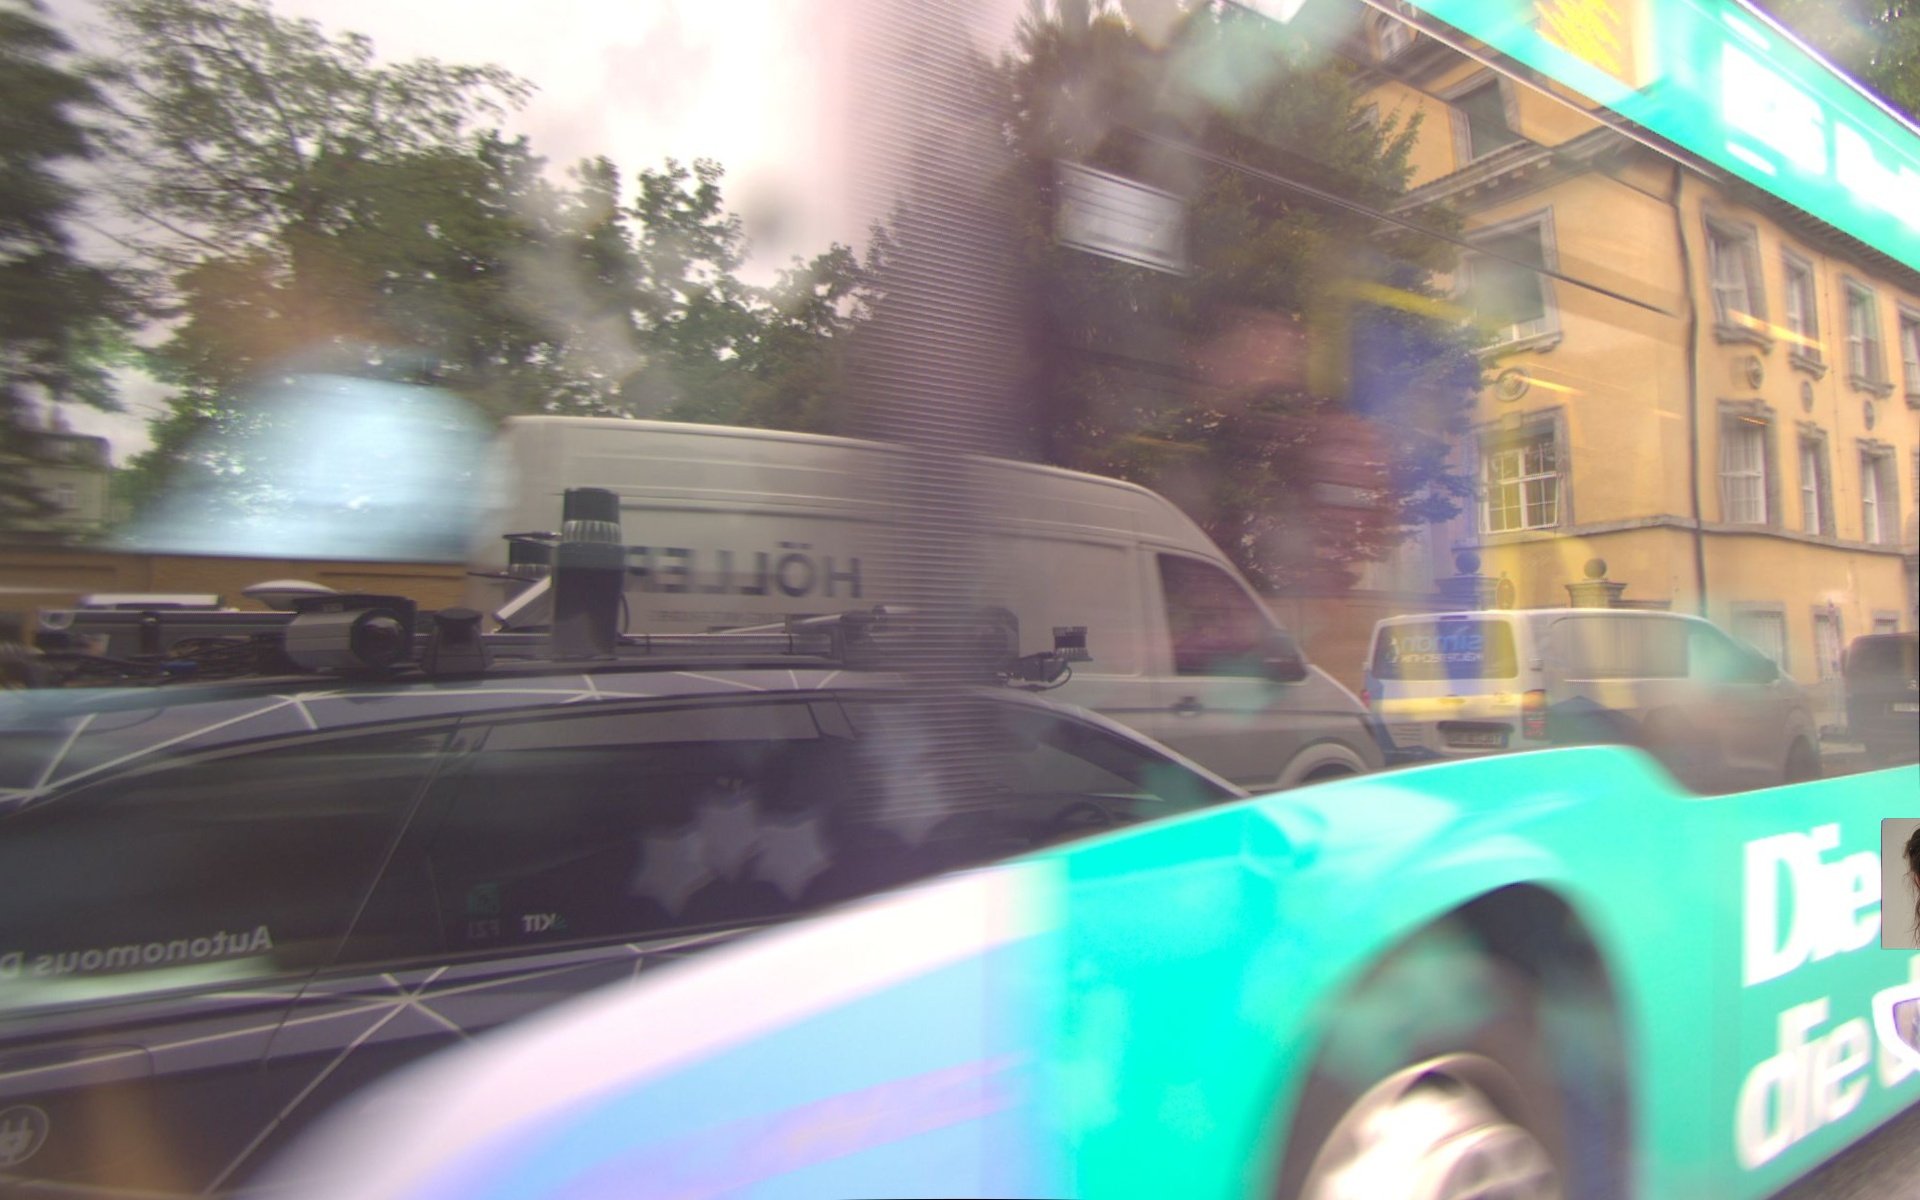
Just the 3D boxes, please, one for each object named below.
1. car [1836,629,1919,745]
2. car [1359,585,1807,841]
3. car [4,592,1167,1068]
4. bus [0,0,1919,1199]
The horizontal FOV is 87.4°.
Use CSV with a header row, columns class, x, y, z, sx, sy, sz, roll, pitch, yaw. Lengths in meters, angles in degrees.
class,x,y,z,sx,sy,sz,roll,pitch,yaw
car,15.404,1.313,15.375,4.533,1.618,1.774,2,-2,-32
car,5.947,0.923,9.423,4.498,1.902,1.774,2,-2,-32
car,-1.326,0.754,4.921,4.493,1.457,1.783,1,-1,-28
bus,5.116,-0.006,5.737,18.217,3.281,2.845,3,-2,-31
